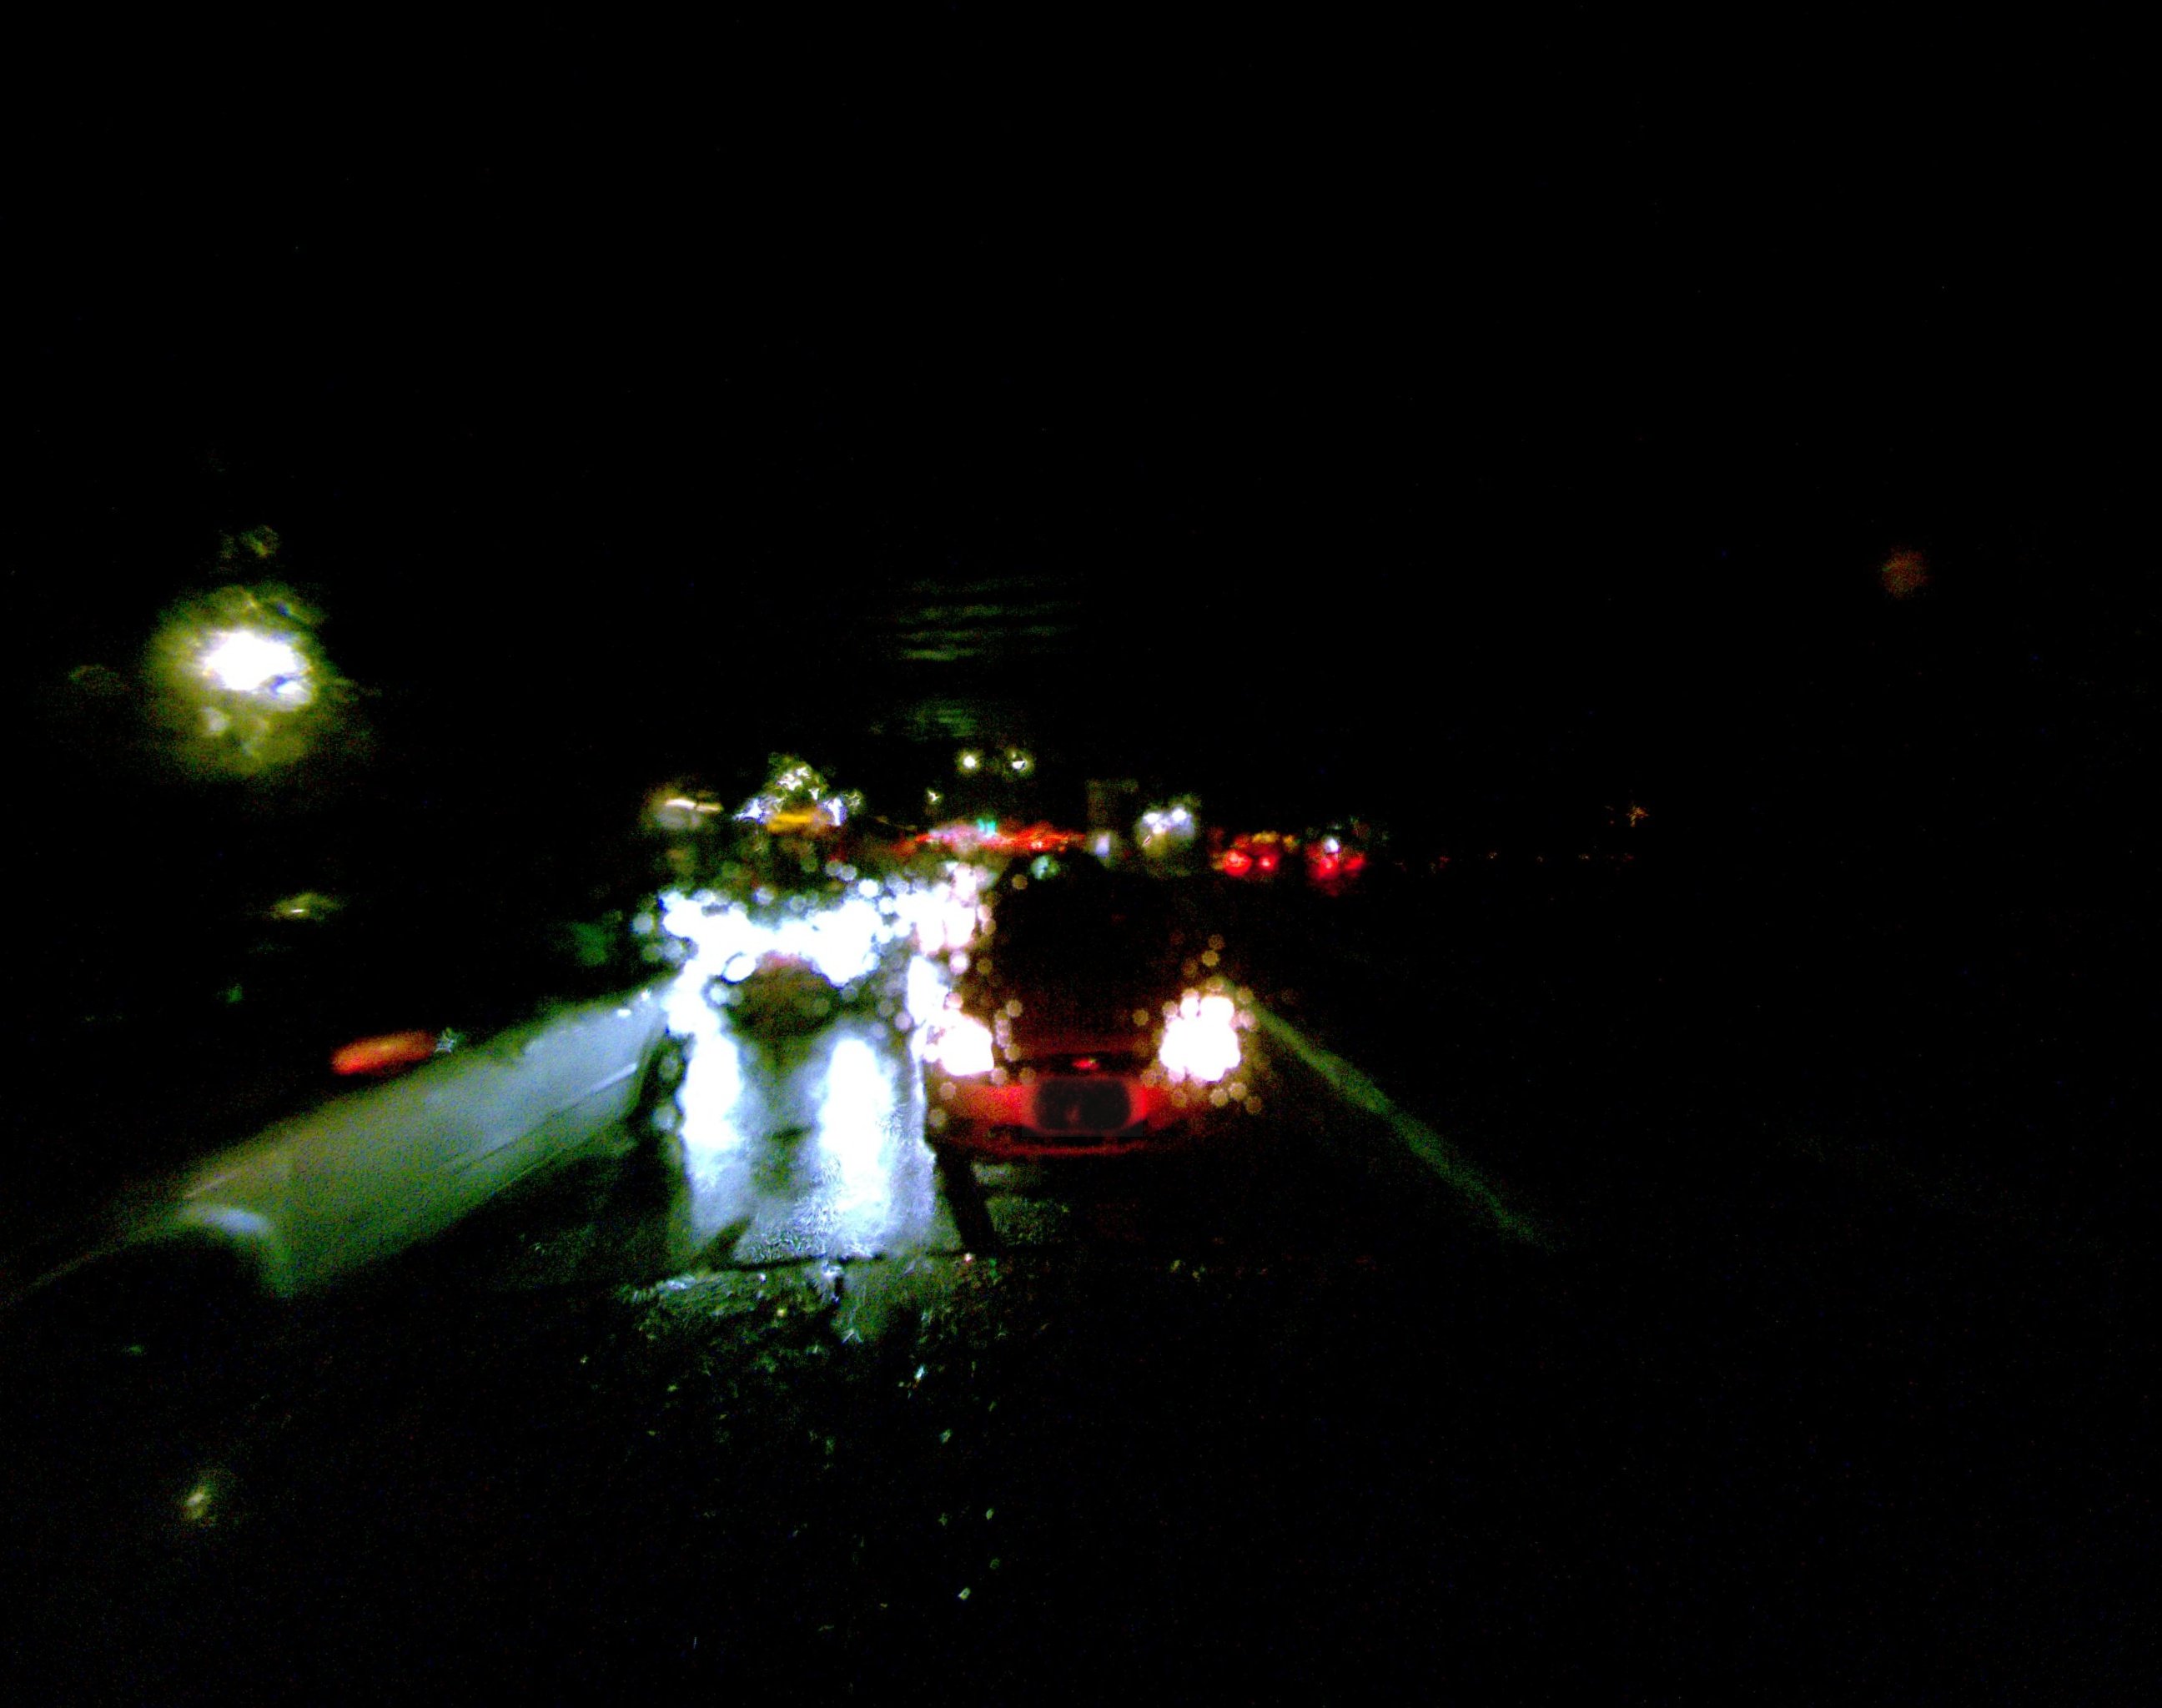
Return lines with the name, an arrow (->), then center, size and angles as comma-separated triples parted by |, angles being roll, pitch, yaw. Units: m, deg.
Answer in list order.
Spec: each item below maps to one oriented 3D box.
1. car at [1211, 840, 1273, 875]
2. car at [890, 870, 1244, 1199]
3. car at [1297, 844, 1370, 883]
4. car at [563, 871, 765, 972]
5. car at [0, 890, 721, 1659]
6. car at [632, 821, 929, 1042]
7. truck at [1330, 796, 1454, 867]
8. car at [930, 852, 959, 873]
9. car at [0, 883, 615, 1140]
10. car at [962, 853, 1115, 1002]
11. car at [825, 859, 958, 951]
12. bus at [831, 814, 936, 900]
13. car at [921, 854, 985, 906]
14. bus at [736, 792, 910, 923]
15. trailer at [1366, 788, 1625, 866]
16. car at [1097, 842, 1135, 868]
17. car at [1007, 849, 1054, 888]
car -> 7.697, 0.133, 36.602 | 1.999, 1.510, 3.999 | -2, 1, -1
car -> -0.038, 0.894, 5.529 | 1.603, 1.360, 3.942 | -2, 1, 1
car -> 11.403, 0.369, 34.574 | 1.822, 1.595, 4.142 | -2, 1, -1
car -> -7.161, 1.074, 13.522 | 1.755, 1.422, 3.758 | -1, 0, -5
car -> -3.163, 0.993, 2.688 | 1.792, 1.359, 3.999 | -2, 2, 0
car -> -3.360, 0.735, 9.600 | 1.999, 2.076, 4.347 | -2, 1, -1
truck -> 19.765, -1.408, 48.765 | 6.369, 4.152, 3.971 | -2, 1, 6
car -> -10.623, 0.625, 58.892 | 1.685, 1.463, 3.994 | -3, 1, -17
car -> -6.504, 1.060, 6.908 | 1.756, 1.382, 4.566 | -2, 0, -1
car -> -0.458, 0.836, 10.639 | 1.683, 1.591, 3.996 | -2, 1, 1
car -> -3.697, 0.931, 15.495 | 1.869, 1.503, 3.765 | -2, 1, -3
bus -> -8.264, 0.128, 33.188 | 2.777, 3.105, 9.757 | -2, 0, -5
car -> -4.196, 0.807, 25.453 | 1.630, 1.494, 3.998 | -2, 1, -3
bus -> -7.386, 0.106, 23.450 | 2.777, 3.105, 9.757 | -2, 0, -5
trailer -> 25.827, -1.641, 48.193 | 13.903, 4.152, 3.971 | -2, 1, 6
car -> 2.753, 0.048, 61.009 | 2.001, 1.915, 3.995 | -2, 1, -13
car -> -2.285, 0.577, 33.460 | 1.882, 1.534, 3.997 | -2, 1, -6
